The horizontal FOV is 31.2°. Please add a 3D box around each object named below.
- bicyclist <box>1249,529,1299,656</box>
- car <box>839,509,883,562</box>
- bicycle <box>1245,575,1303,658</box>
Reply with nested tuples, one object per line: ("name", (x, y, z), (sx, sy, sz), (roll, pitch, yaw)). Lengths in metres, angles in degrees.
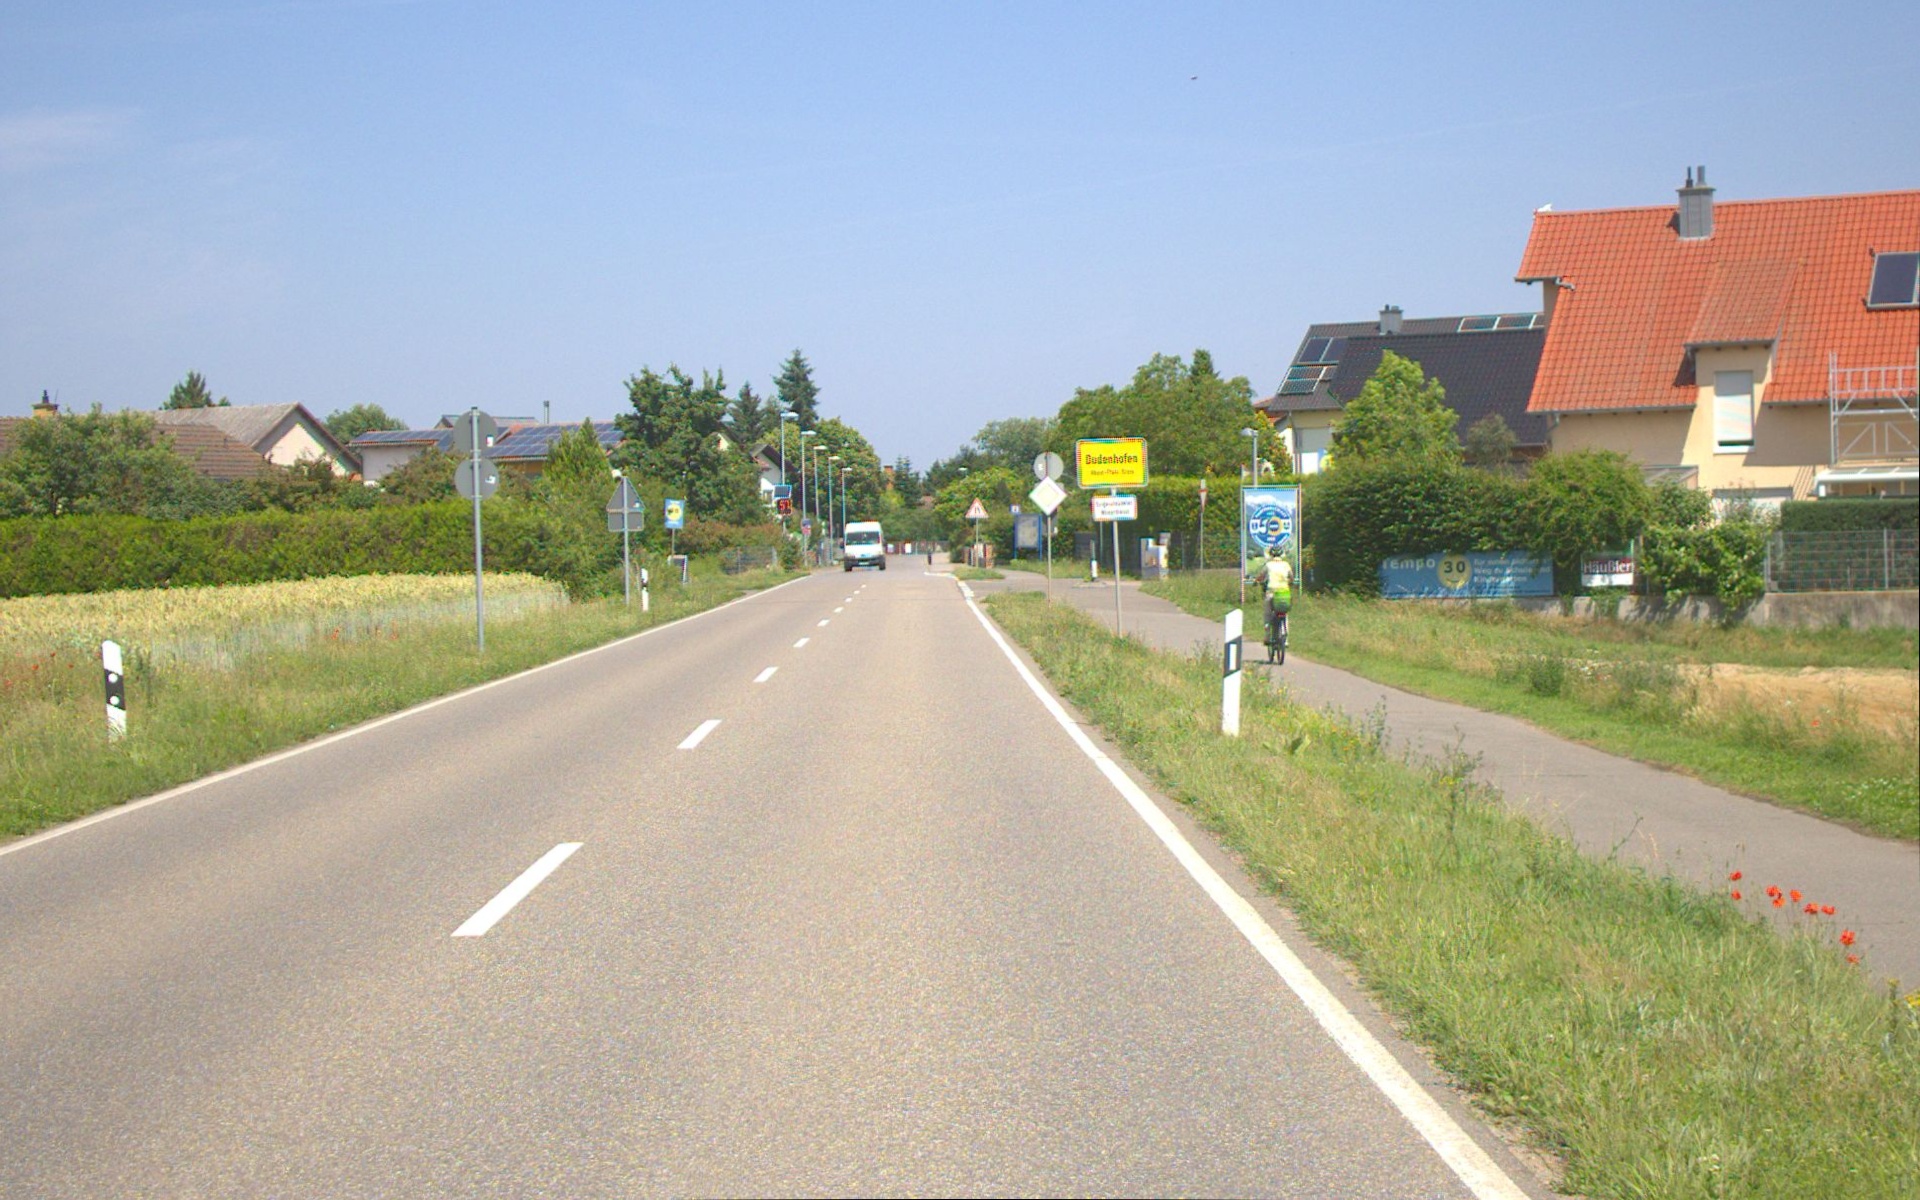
("bicyclist", (4.738, -0.116, 51.885), (0.645, 1.883, 0.861), (0, 2, -1))
("car", (-5.010, -3.295, 174.887), (2.077, 2.533, 5.874), (-2, 2, -1))
("bicycle", (4.739, 0.234, 51.959), (0.610, 1.155, 2.274), (0, 2, -1))
